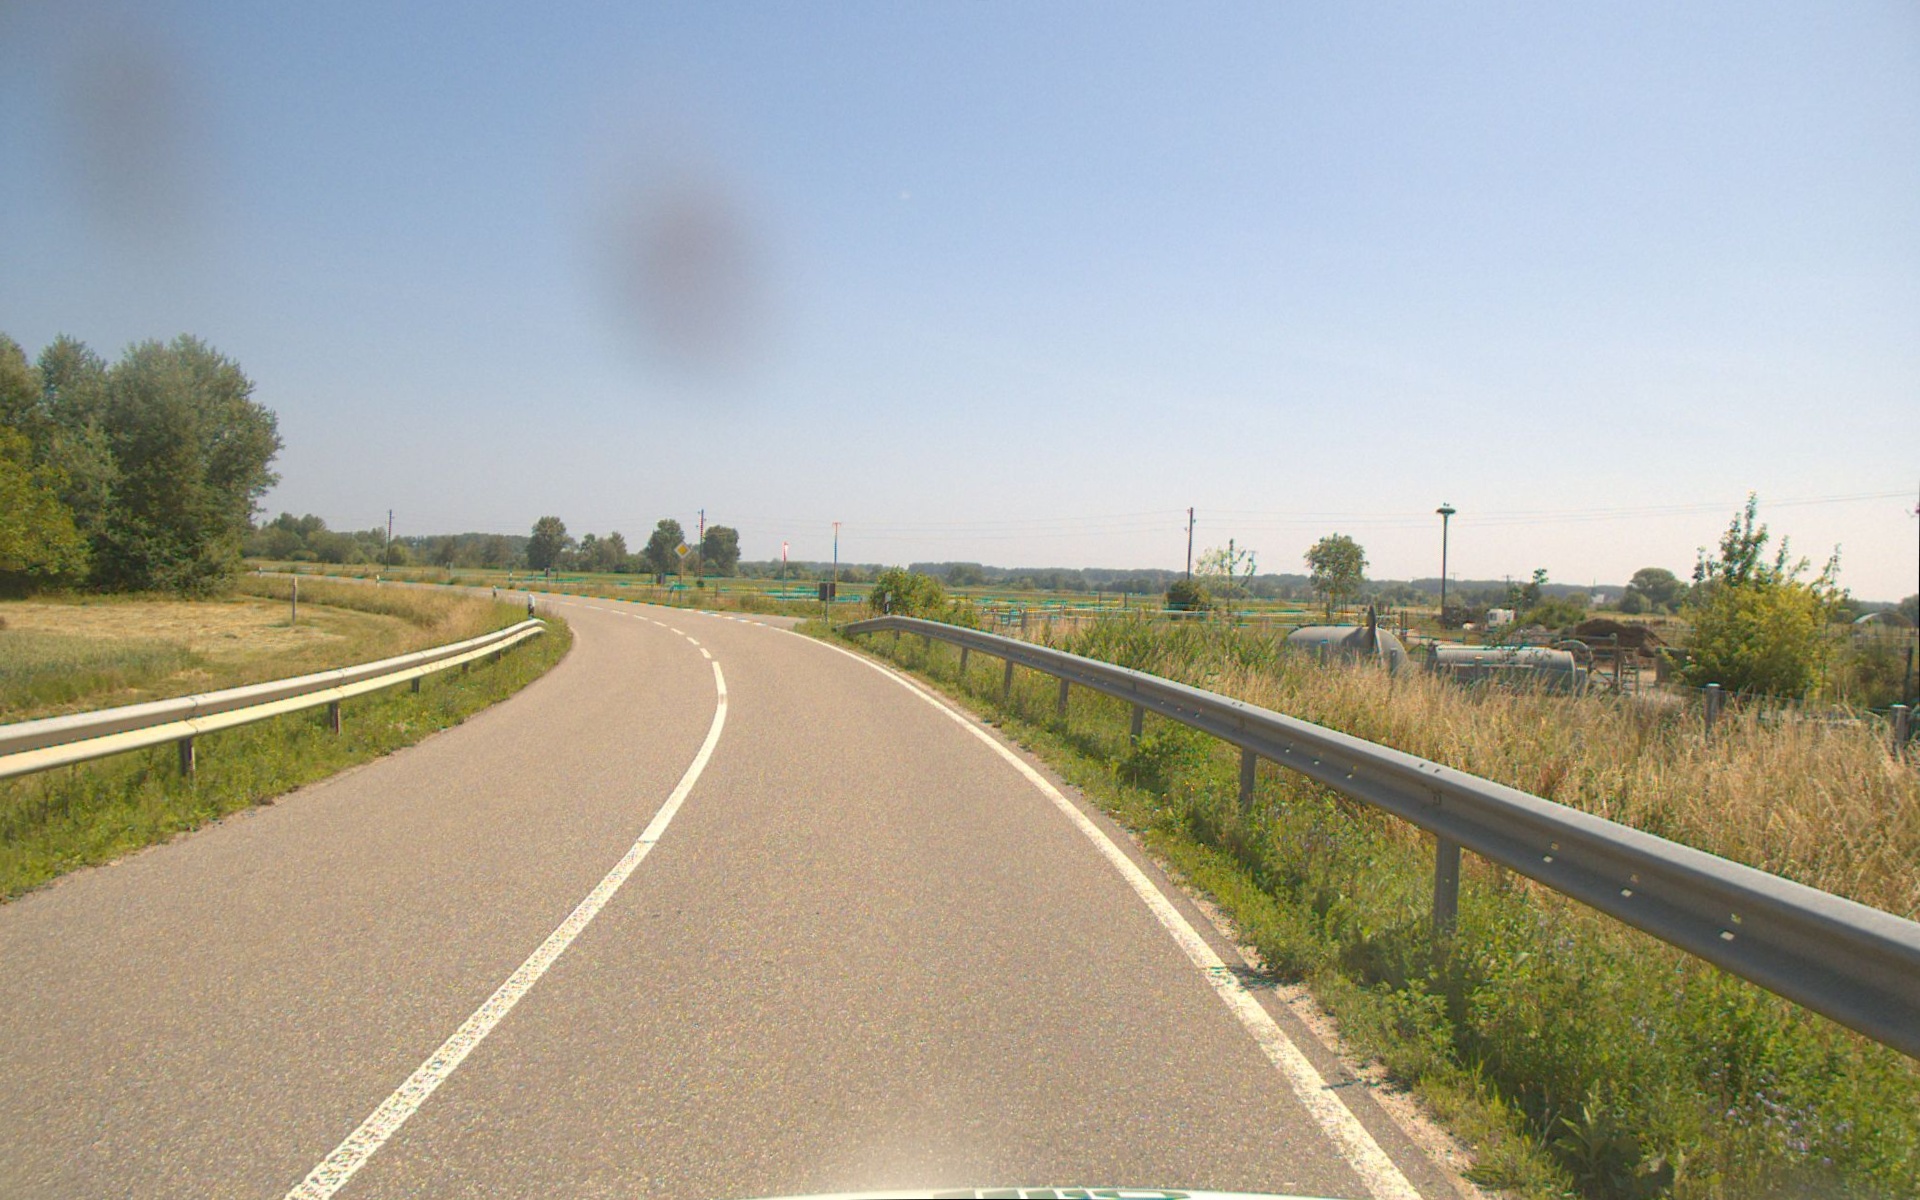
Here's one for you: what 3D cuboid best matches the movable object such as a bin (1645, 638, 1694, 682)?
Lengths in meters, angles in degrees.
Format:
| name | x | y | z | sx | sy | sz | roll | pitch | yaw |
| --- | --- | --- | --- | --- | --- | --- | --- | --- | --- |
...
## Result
| name | x | y | z | sx | sy | sz | roll | pitch | yaw |
| --- | --- | --- | --- | --- | --- | --- | --- | --- | --- |
| movable object such as a bin | 23.886 | 2.021 | 55.718 | 1.340 | 1.373 | 1.517 | 2 | 0 | 19 |
